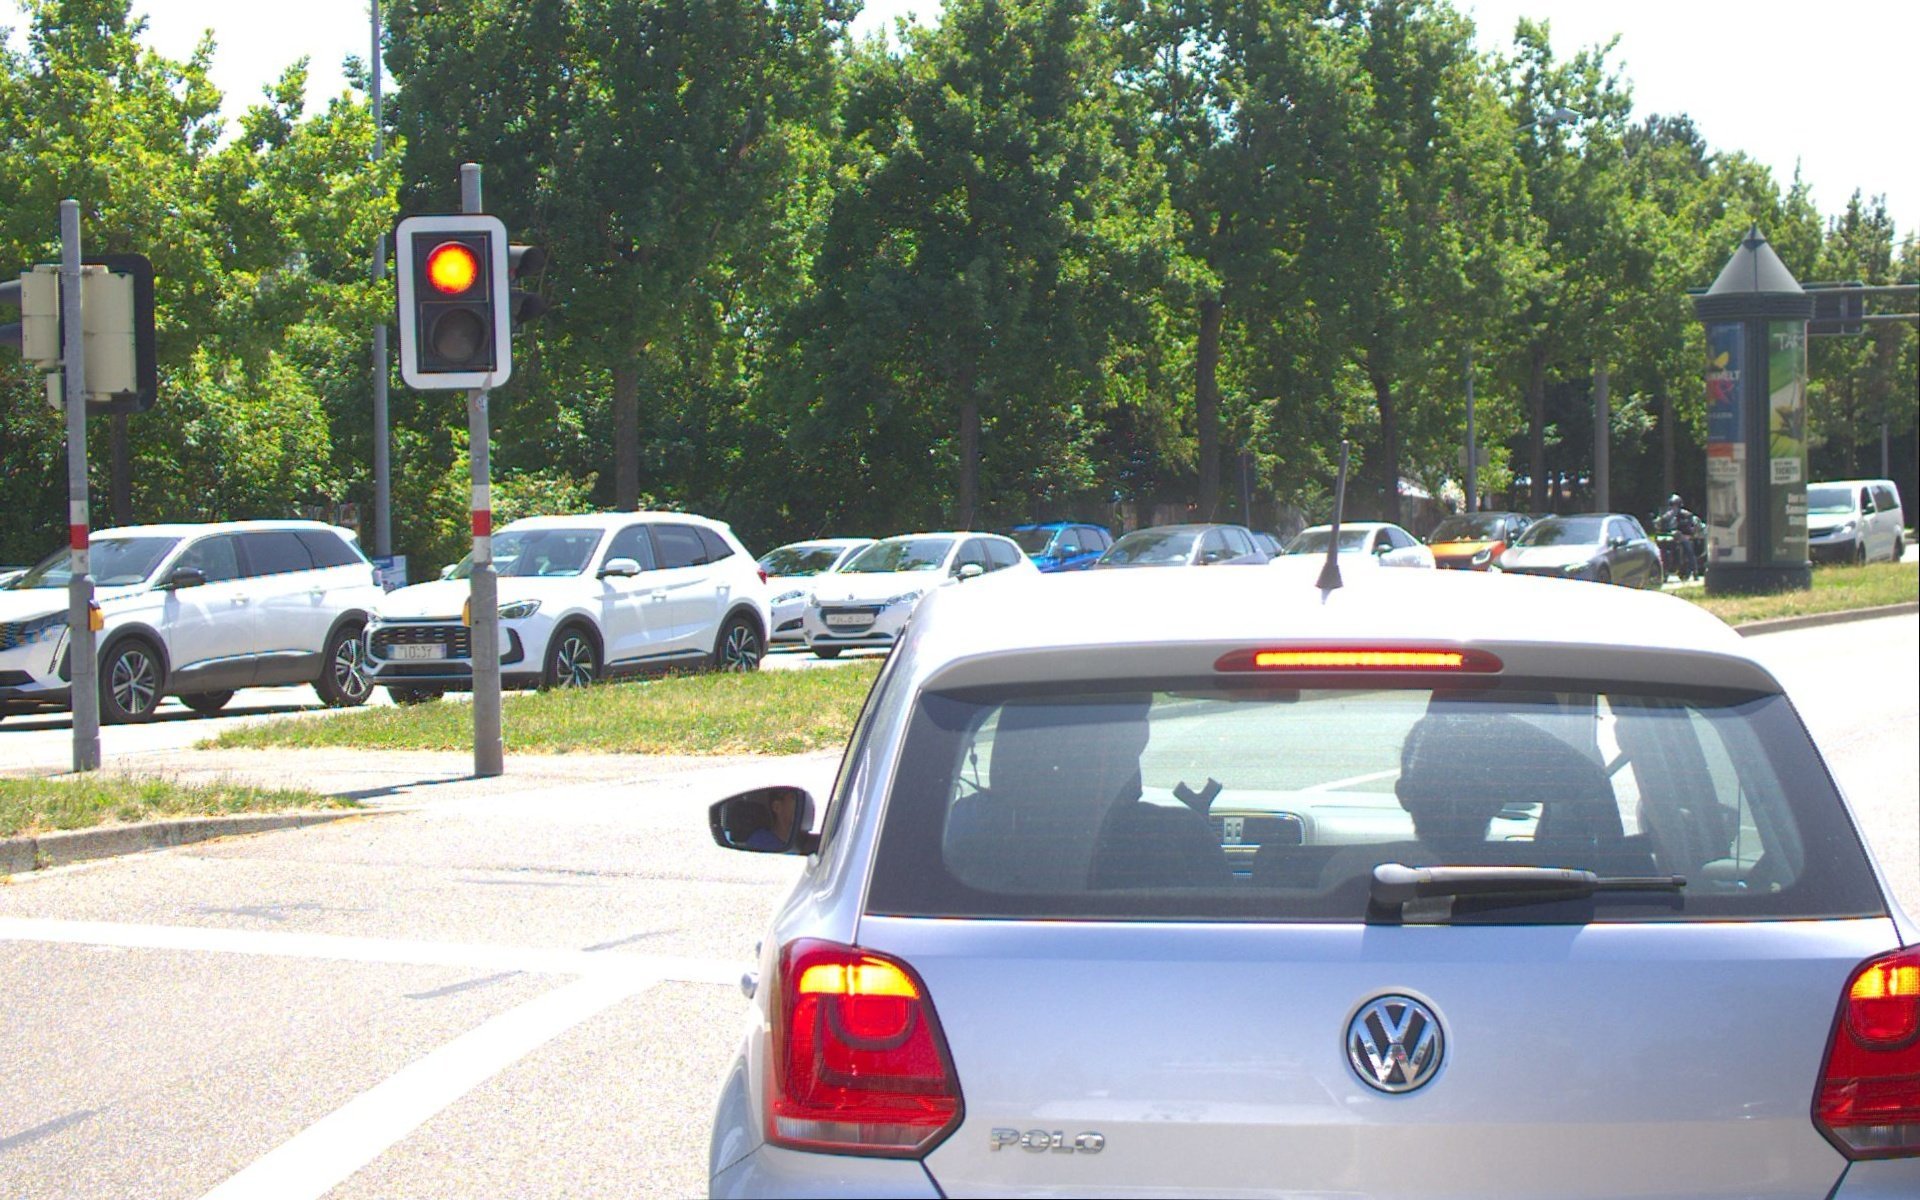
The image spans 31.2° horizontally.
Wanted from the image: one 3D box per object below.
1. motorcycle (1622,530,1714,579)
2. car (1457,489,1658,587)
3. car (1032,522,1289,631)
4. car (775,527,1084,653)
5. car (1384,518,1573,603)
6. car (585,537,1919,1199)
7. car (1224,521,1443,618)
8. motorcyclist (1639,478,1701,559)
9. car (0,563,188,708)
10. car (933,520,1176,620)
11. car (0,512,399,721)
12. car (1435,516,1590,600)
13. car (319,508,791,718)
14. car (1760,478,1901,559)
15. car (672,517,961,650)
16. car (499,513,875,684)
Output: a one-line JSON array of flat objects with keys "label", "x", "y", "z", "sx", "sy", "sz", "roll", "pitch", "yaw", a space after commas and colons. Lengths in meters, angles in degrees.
[{"label": "motorcycle", "x": 14.262, "y": -0.928, "z": 69.194, "sx": 0.897, "sy": 0.949, "sz": 2.811, "roll": -1, "pitch": 0, "yaw": 31}, {"label": "car", "x": 9.445, "y": -0.998, "z": 54.117, "sx": 1.973, "sy": 1.483, "sz": 3.994, "roll": 0, "pitch": 2, "yaw": 28}, {"label": "car", "x": 2.843, "y": -0.356, "z": 47.776, "sx": 1.861, "sy": 1.417, "sz": 4.401, "roll": 0, "pitch": 2, "yaw": 29}, {"label": "car", "x": -0.306, "y": -0.158, "z": 42.004, "sx": 1.861, "sy": 1.417, "sz": 4.401, "roll": 0, "pitch": 2, "yaw": 29}, {"label": "car", "x": 9.091, "y": -0.711, "z": 60.031, "sx": 1.861, "sy": 1.417, "sz": 4.401, "roll": 0, "pitch": 2, "yaw": 29}, {"label": "car", "x": 0.529, "y": 0.634, "z": 5.703, "sx": 1.776, "sy": 1.417, "sz": 4.000, "roll": 0, "pitch": 2, "yaw": 1}, {"label": "car", "x": 5.879, "y": -0.507, "z": 53.685, "sx": 1.861, "sy": 1.417, "sz": 4.401, "roll": 0, "pitch": 2, "yaw": 29}, {"label": "motorcyclist", "x": 14.315, "y": -1.639, "z": 69.319, "sx": 0.907, "sy": 1.581, "sz": 1.008, "roll": -1, "pitch": 0, "yaw": 30}, {"label": "car", "x": -9.297, "y": 0.328, "z": 31.577, "sx": 1.861, "sy": 1.266, "sz": 4.401, "roll": 0, "pitch": 2, "yaw": 29}, {"label": "car", "x": 1.472, "y": -0.482, "z": 51.685, "sx": 1.861, "sy": 1.417, "sz": 4.401, "roll": 0, "pitch": 2, "yaw": 29}, {"label": "car", "x": -6.852, "y": 0.074, "z": 29.031, "sx": 1.861, "sy": 1.612, "sz": 4.401, "roll": 0, "pitch": 2, "yaw": 29}, {"label": "car", "x": 10.337, "y": -0.789, "z": 64.158, "sx": 1.718, "sy": 1.470, "sz": 3.791, "roll": -1, "pitch": 0, "yaw": 27}, {"label": "car", "x": -3.422, "y": 0.048, "z": 29.907, "sx": 1.861, "sy": 1.677, "sz": 4.401, "roll": 0, "pitch": 2, "yaw": 29}, {"label": "car", "x": 17.344, "y": -1.630, "z": 68.385, "sx": 1.865, "sy": 1.549, "sz": 3.994, "roll": 0, "pitch": 2, "yaw": 27}, {"label": "car", "x": -1.860, "y": -0.263, "z": 46.149, "sx": 1.861, "sy": 1.677, "sz": 4.401, "roll": 0, "pitch": 2, "yaw": 29}, {"label": "car", "x": -2.810, "y": -0.067, "z": 36.421, "sx": 1.861, "sy": 1.677, "sz": 4.401, "roll": 0, "pitch": 2, "yaw": 29}]
